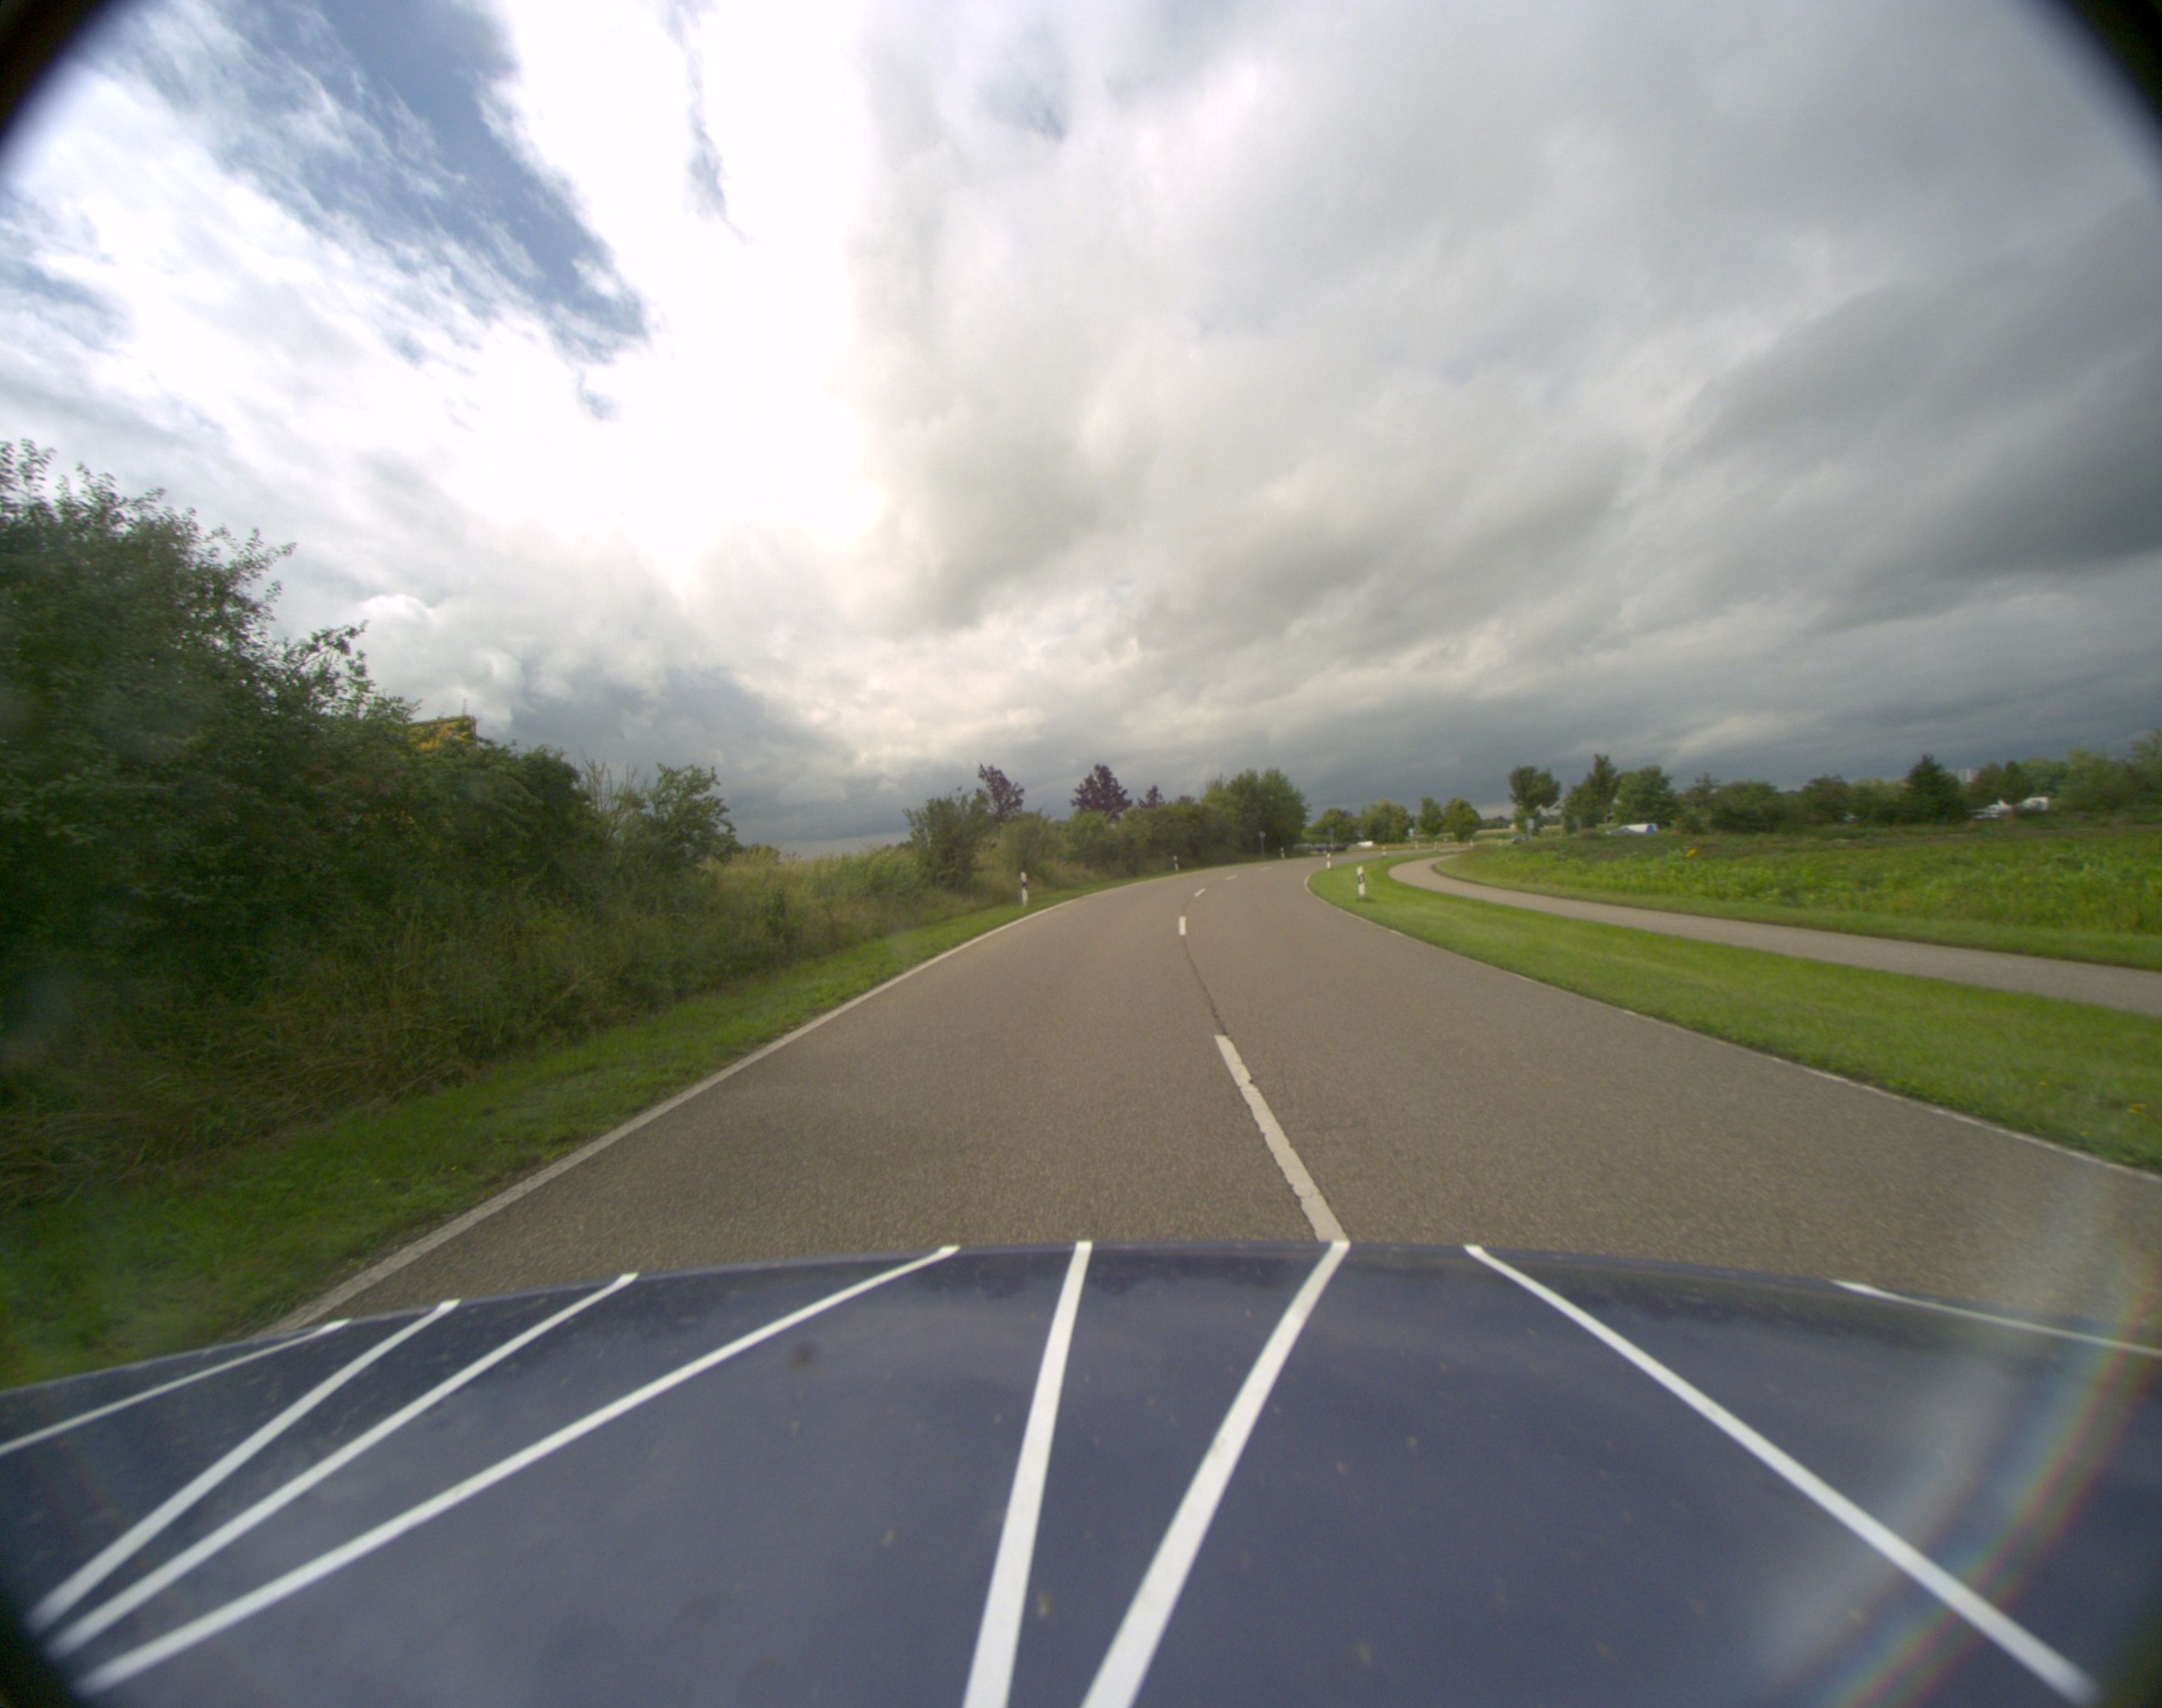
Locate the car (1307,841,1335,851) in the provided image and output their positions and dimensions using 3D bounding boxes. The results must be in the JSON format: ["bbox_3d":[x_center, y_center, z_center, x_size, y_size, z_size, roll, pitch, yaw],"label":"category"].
[{"bbox_3d":[40.218,-1.342,127.385,4.155,1.406,2.004,-3,0,31],"label":"car"}]

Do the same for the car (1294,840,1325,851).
[{"bbox_3d":[36.815,-1.356,122.465,4.481,1.572,2.004,-3,0,31],"label":"car"}]

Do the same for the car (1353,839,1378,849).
[{"bbox_3d":[54.855,-1.927,146.467,3.989,1.849,2.004,-3,0,35],"label":"car"}]

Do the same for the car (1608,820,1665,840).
[{"bbox_3d":[63.985,-2.710,87.609,2.060,2.002,4.897,-3,0,-43],"label":"car"}]

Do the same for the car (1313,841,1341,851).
[{"bbox_3d":[42.144,-1.378,130.343,3.999,1.496,2.055,-3,0,38],"label":"car"}]
